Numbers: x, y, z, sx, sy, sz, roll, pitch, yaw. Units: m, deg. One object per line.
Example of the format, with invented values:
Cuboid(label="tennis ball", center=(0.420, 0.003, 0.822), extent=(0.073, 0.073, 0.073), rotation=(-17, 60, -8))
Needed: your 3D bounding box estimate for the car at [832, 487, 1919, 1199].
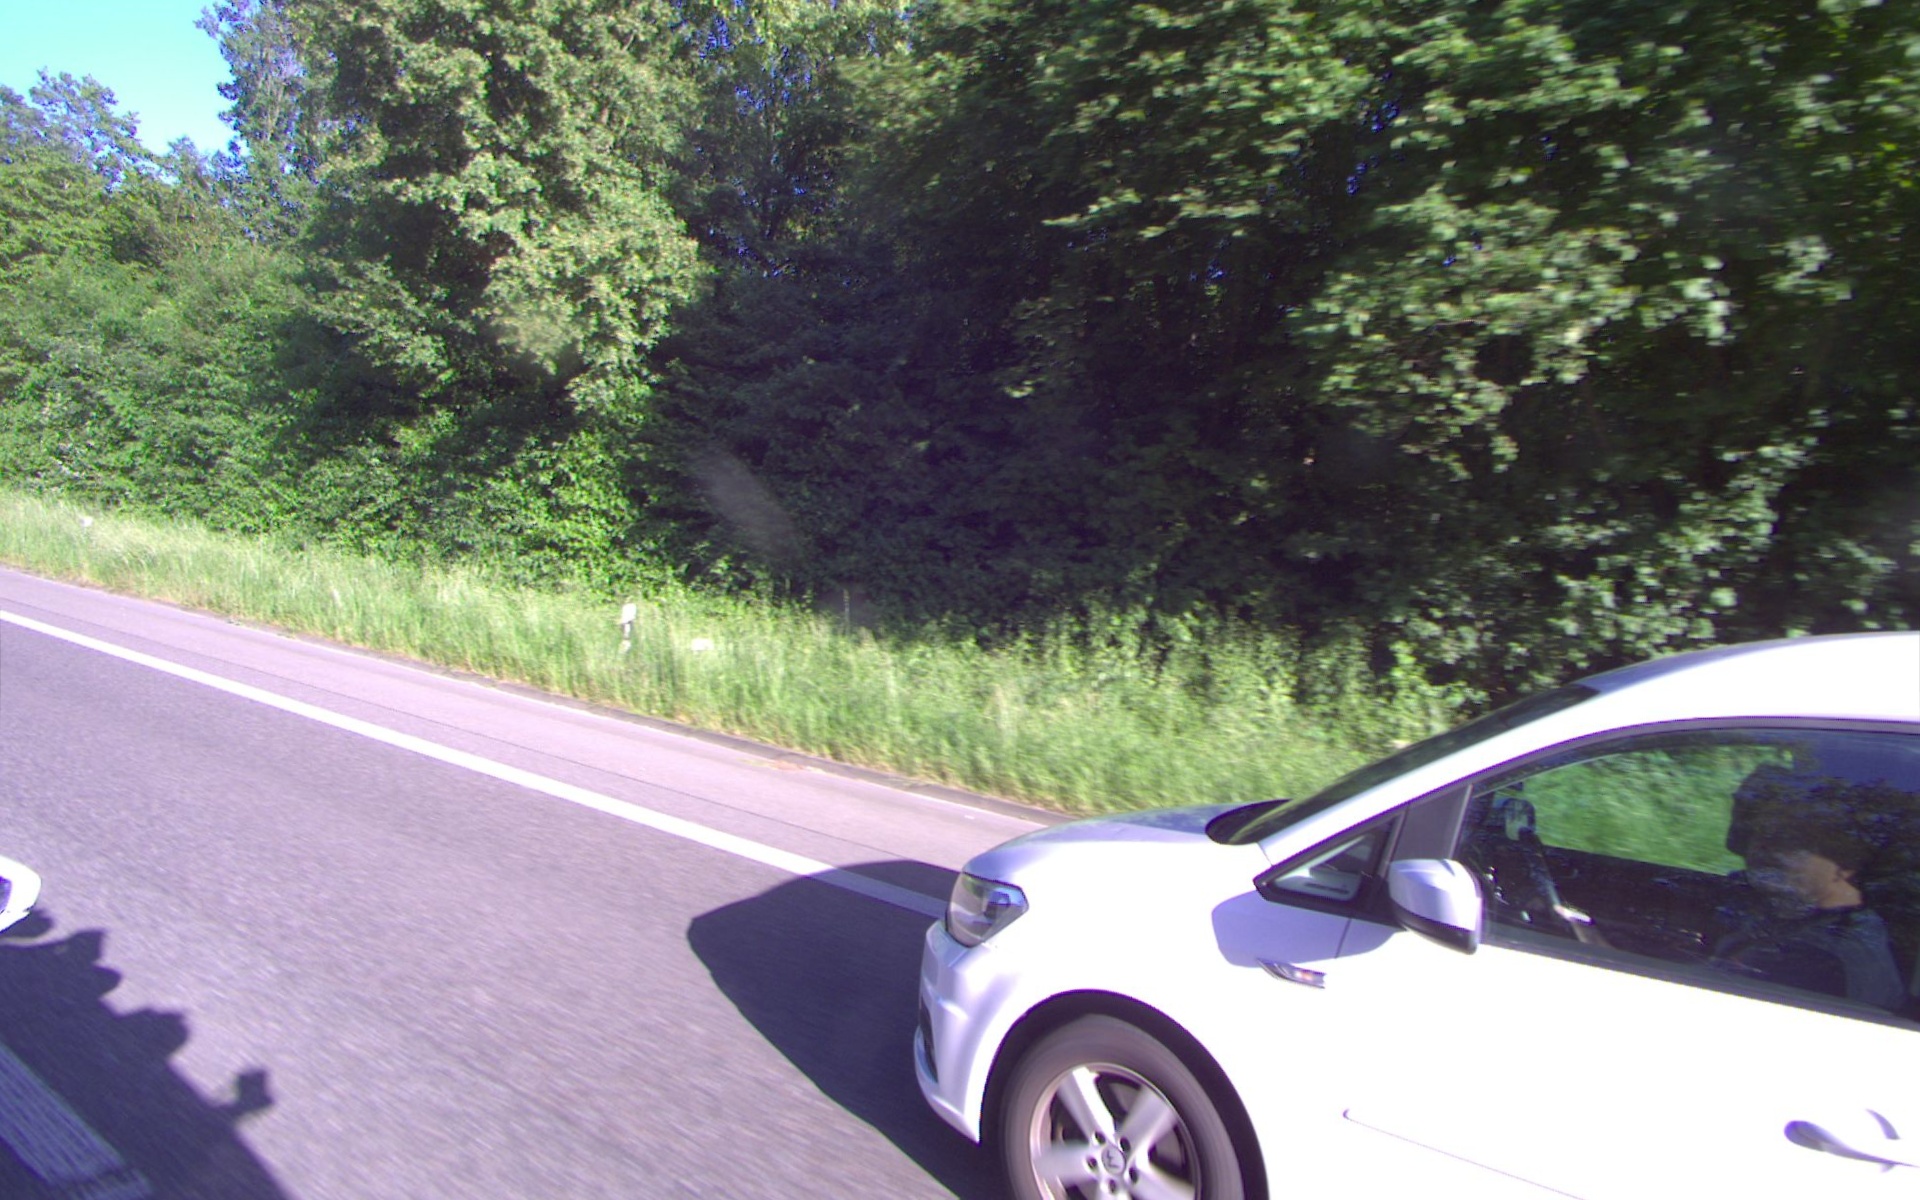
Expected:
Cuboid(label="car", center=(2.140, 0.906, 2.297), extent=(4.511, 1.834, 1.803), rotation=(6, -2, 31))
